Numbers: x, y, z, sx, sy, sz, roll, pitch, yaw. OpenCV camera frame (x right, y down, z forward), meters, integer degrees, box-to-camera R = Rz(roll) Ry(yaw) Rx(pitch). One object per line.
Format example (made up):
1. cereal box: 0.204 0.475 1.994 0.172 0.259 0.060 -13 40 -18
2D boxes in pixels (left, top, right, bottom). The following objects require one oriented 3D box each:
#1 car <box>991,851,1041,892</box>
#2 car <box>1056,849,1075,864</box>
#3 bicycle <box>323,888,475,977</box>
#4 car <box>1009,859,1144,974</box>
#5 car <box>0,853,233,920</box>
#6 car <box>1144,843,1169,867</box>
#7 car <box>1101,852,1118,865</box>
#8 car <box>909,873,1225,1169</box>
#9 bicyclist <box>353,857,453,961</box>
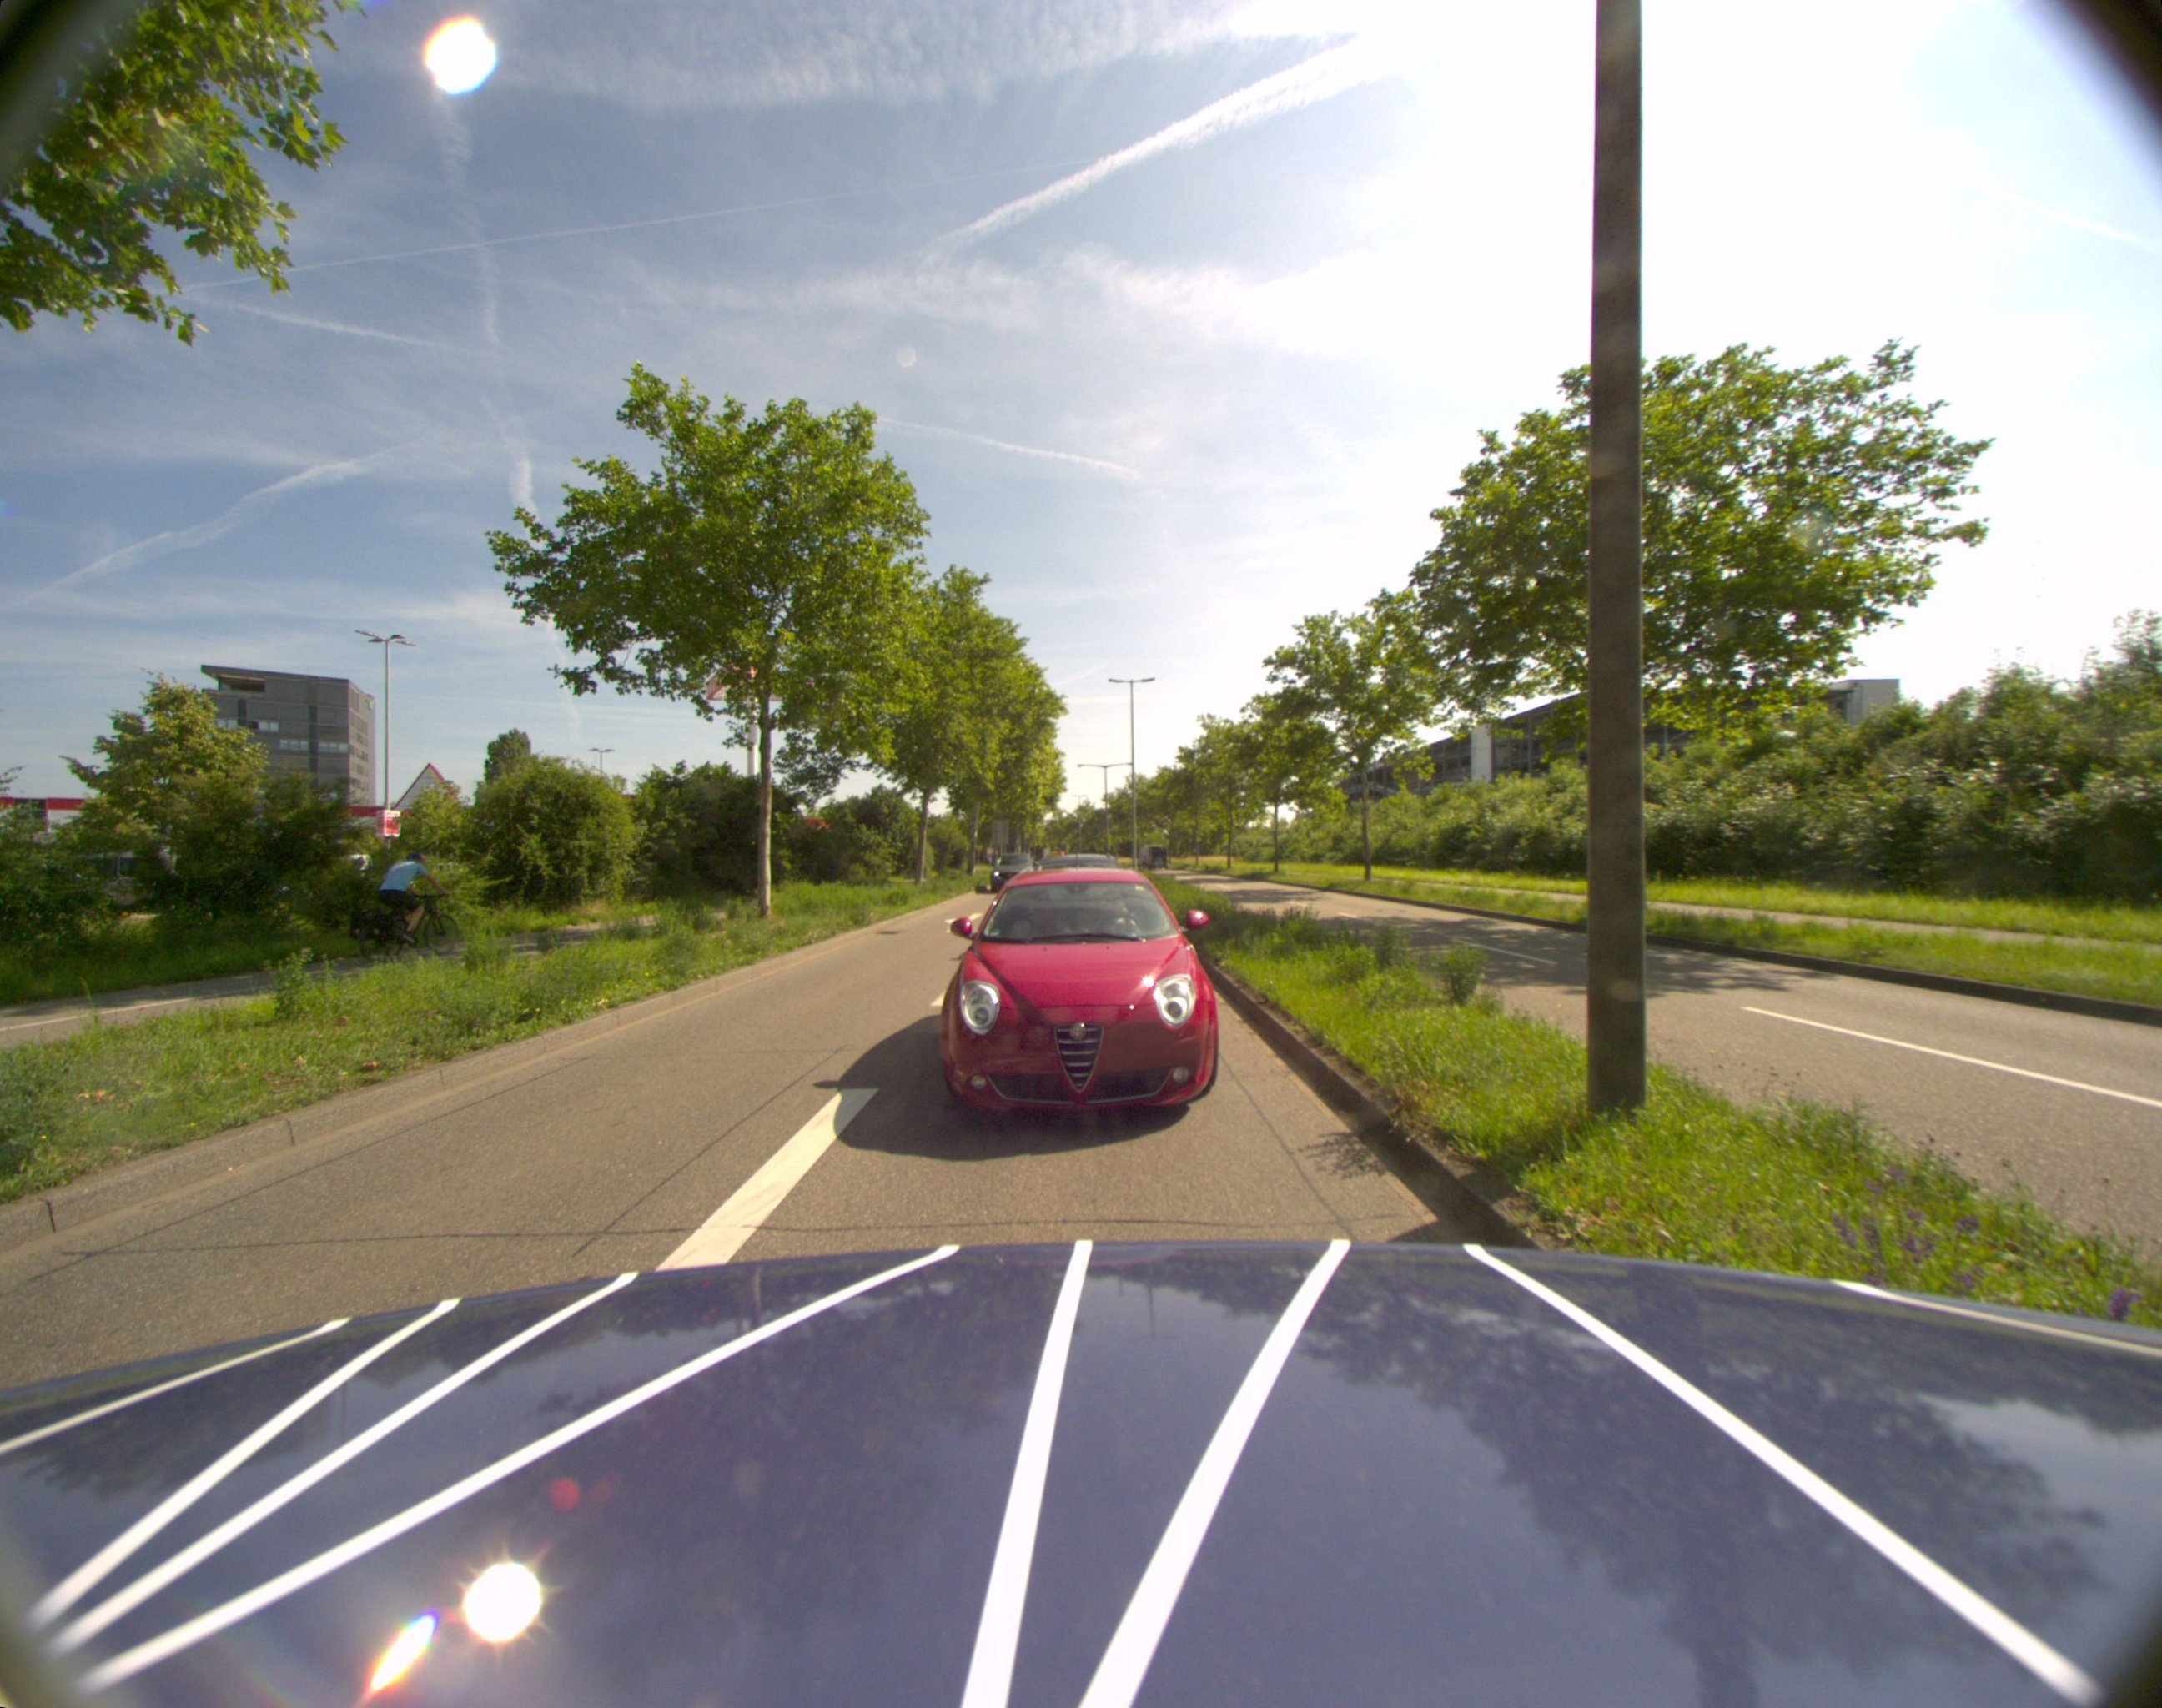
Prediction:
1. car: -2.823 0.727 33.780 1.770 1.649 4.495 -2 0 0
2. car: -2.725 0.415 132.132 2.066 2.396 5.997 0 0 -15
3. bicycle: -10.989 1.219 12.355 0.687 1.230 1.934 0 1 1
4. car: -0.036 0.897 12.750 1.874 1.536 4.081 -1 0 1
5. car: -25.086 0.776 19.685 3.870 1.576 1.844 -1 1 -38
6. car: 7.821 0.041 79.120 2.064 2.396 5.538 0 0 0
7. car: 4.187 0.686 111.890 2.064 1.909 4.452 0 0 -4
8. car: -0.051 0.953 6.061 1.658 1.430 3.908 -2 0 1
9. bicyclist: -10.990 0.864 12.357 0.687 1.622 1.002 0 1 1
